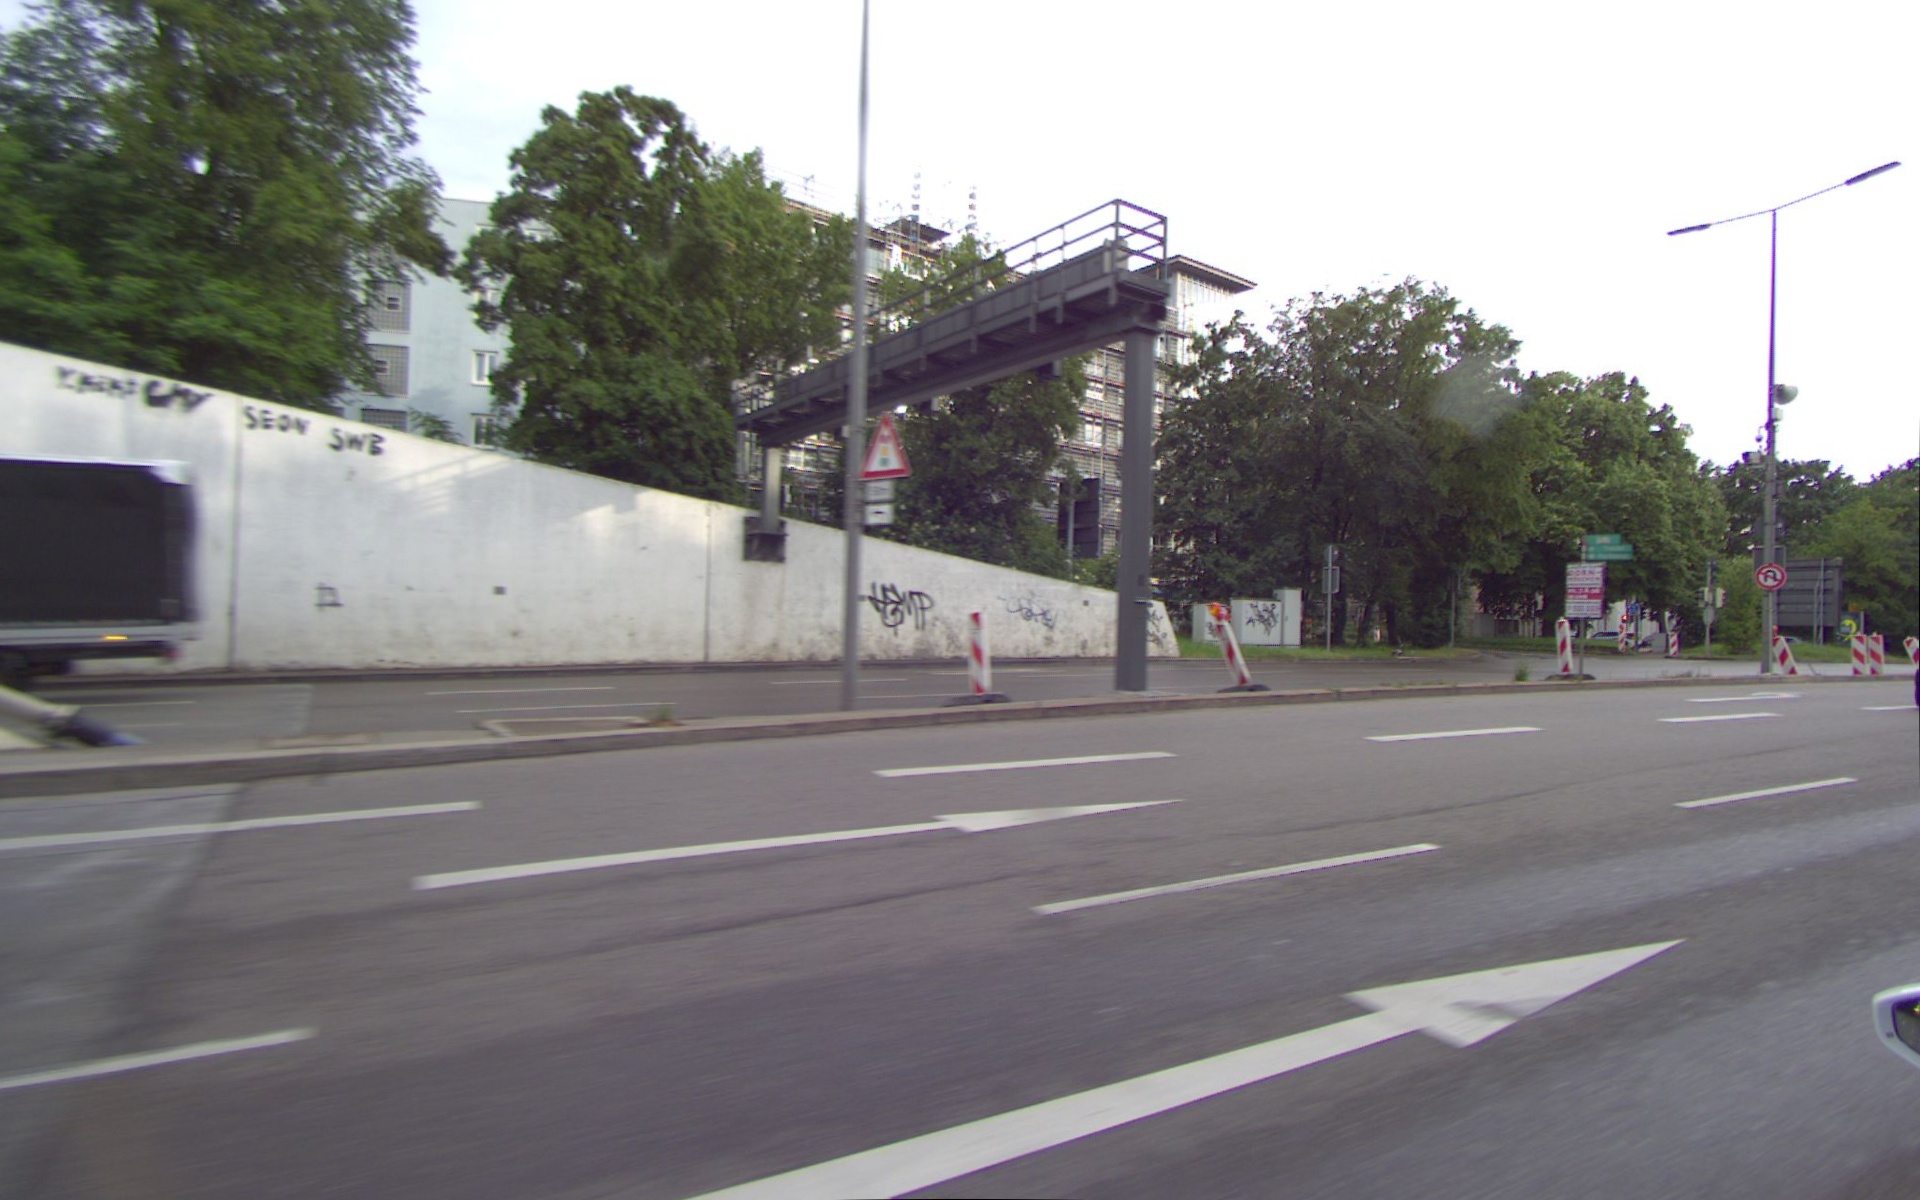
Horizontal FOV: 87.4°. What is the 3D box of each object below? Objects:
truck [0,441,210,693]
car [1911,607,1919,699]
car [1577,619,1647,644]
[{"bbox_3d":[-14.593,-0.448,13.530,7.076,3.320,2.779,1,0,-36],"label":"truck"},{"bbox_3d":[17.232,0.874,16.467,3.534,1.474,1.602,0,1,-33],"label":"car"},{"bbox_3d":[47.663,2.252,73.492,1.879,1.706,3.960,0,0,-35],"label":"car"}]
